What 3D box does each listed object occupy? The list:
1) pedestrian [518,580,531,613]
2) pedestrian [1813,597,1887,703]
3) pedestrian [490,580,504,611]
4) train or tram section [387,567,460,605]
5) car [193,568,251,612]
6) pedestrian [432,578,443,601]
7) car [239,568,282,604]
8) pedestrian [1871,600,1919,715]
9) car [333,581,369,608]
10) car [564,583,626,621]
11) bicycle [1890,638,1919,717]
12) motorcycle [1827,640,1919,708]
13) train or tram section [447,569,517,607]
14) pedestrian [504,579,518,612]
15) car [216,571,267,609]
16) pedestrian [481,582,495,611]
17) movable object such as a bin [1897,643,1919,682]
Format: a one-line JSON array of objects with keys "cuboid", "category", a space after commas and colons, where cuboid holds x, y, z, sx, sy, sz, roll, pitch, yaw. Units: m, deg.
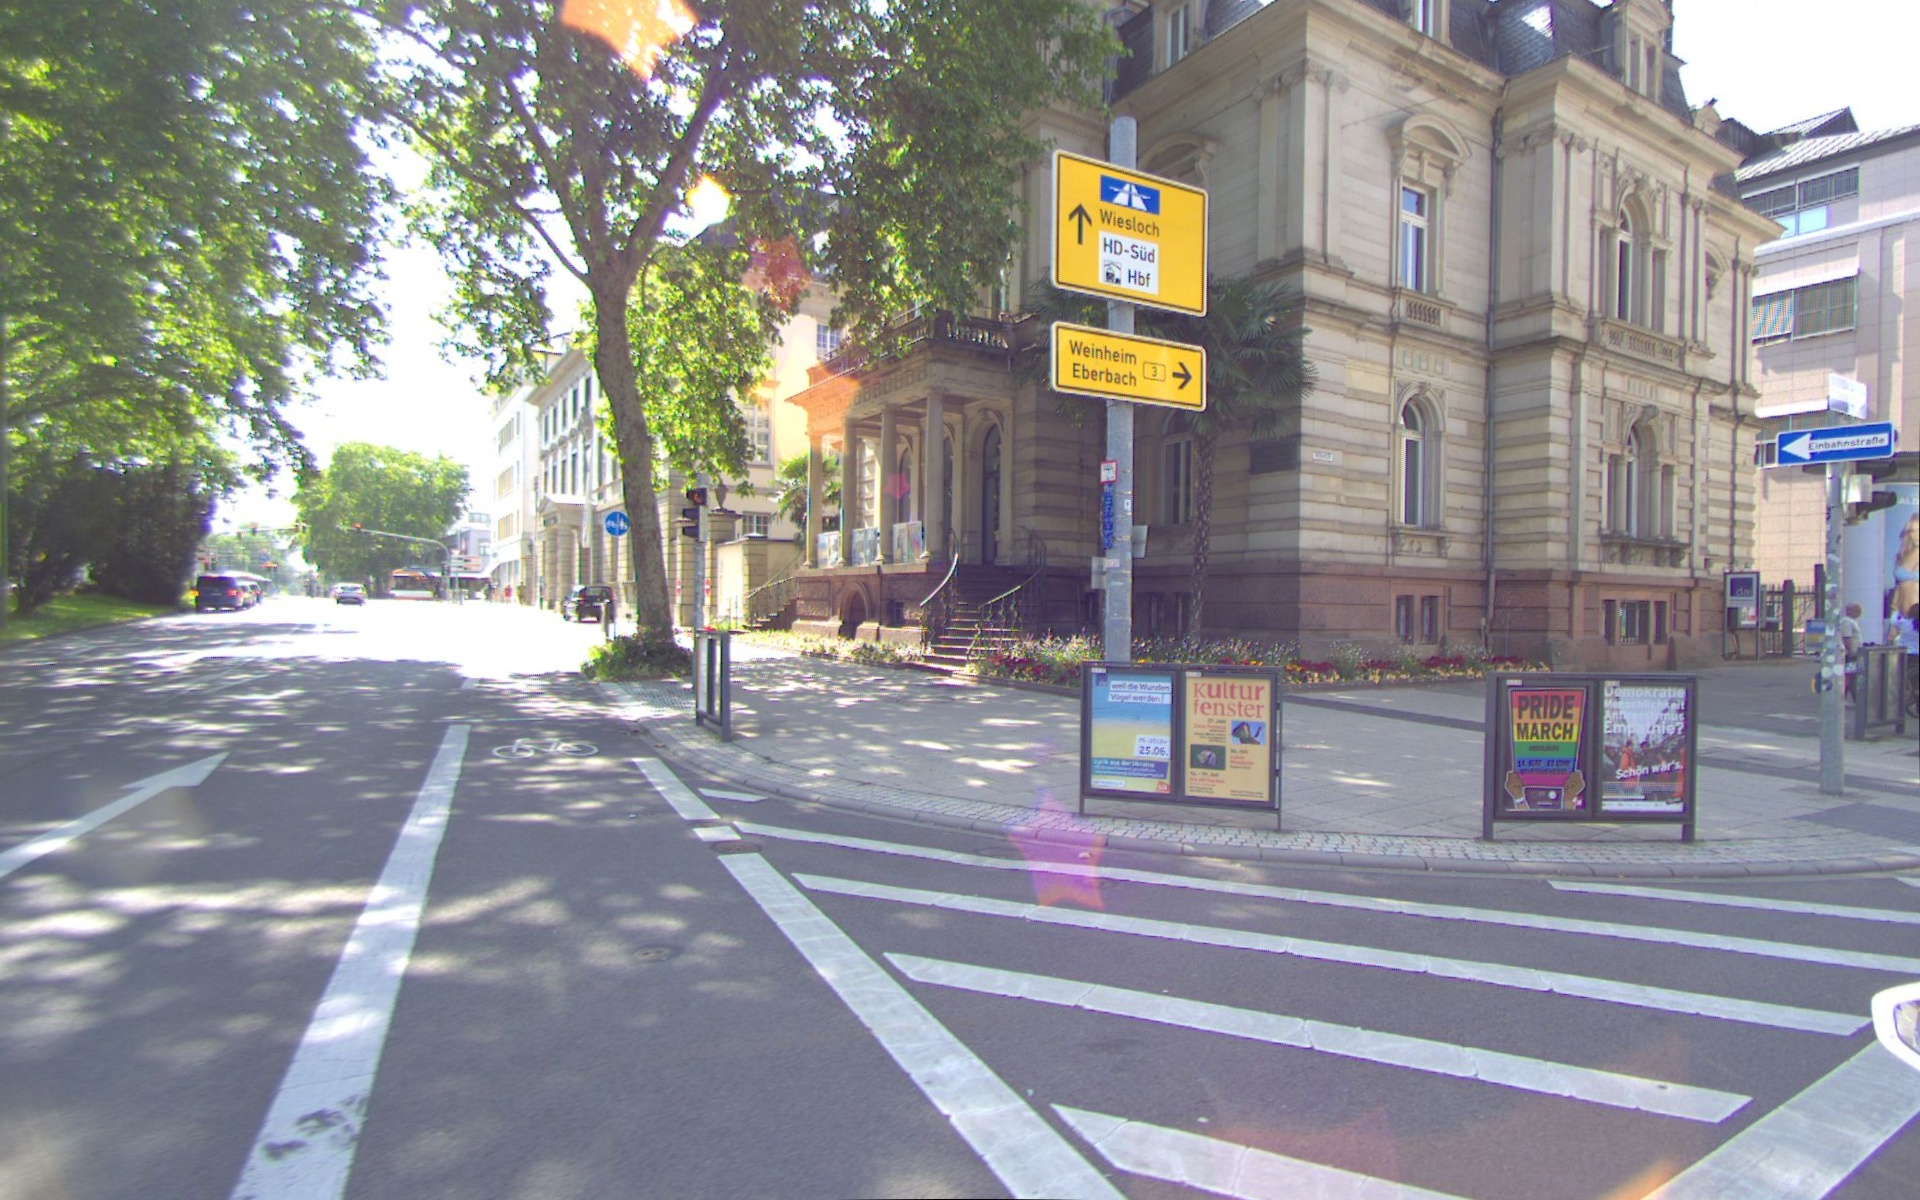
[{"cuboid": [-27.330, -0.203, 63.026, 0.687, 2.040, 0.831, 2, -1, -23], "category": "pedestrian"}, {"cuboid": [14.563, 0.821, 16.434, 0.924, 1.687, 0.547, 2, -1, -24], "category": "pedestrian"}, {"cuboid": [-30.335, -0.281, 65.808, 0.687, 2.040, 0.831, 2, -1, -23], "category": "pedestrian"}, {"cuboid": [-55.067, -1.430, 103.094, 6.244, 3.733, 2.152, 1, 0, -1], "category": "train or tram section"}, {"cuboid": [-38.895, -0.546, 53.029, 1.912, 2.197, 4.027, 0, 1, -29], "category": "car"}, {"cuboid": [-40.805, -0.810, 78.475, 0.689, 1.811, 0.828, 1, 0, -31], "category": "pedestrian"}, {"cuboid": [-47.231, -0.951, 67.879, 1.912, 2.365, 4.027, 0, 1, -29], "category": "car"}, {"cuboid": [14.547, 0.877, 15.371, 0.682, 1.717, 0.691, 2, -1, -29], "category": "pedestrian"}, {"cuboid": [-40.501, -0.398, 66.866, 1.828, 1.758, 4.027, 0, 1, -29], "category": "car"}, {"cuboid": [-15.403, 0.055, 42.295, 1.912, 1.515, 4.027, 0, 1, -29], "category": "car"}, {"cuboid": [15.016, 1.191, 15.194, 2.210, 1.135, 0.428, 3, 1, -22], "category": "bicycle"}, {"cuboid": [14.768, 1.179, 16.045, 2.130, 1.011, 0.452, 2, 1, -23], "category": "motorcycle"}, {"cuboid": [-49.041, -1.224, 103.124, 6.160, 3.733, 2.152, 1, 0, 0], "category": "train or tram section"}, {"cuboid": [-27.983, -0.264, 62.577, 0.687, 2.040, 0.831, 2, -1, -23], "category": "pedestrian"}, {"cuboid": [-41.273, -0.605, 57.771, 1.912, 2.108, 4.027, 0, 1, -29], "category": "car"}, {"cuboid": [-29.284, -0.209, 62.271, 0.689, 1.811, 0.828, 1, 0, -31], "category": "pedestrian"}, {"cuboid": [22.036, 1.442, 23.103, 0.507, 0.887, 0.649, 3, -2, -39], "category": "movable object such as a bin"}]
